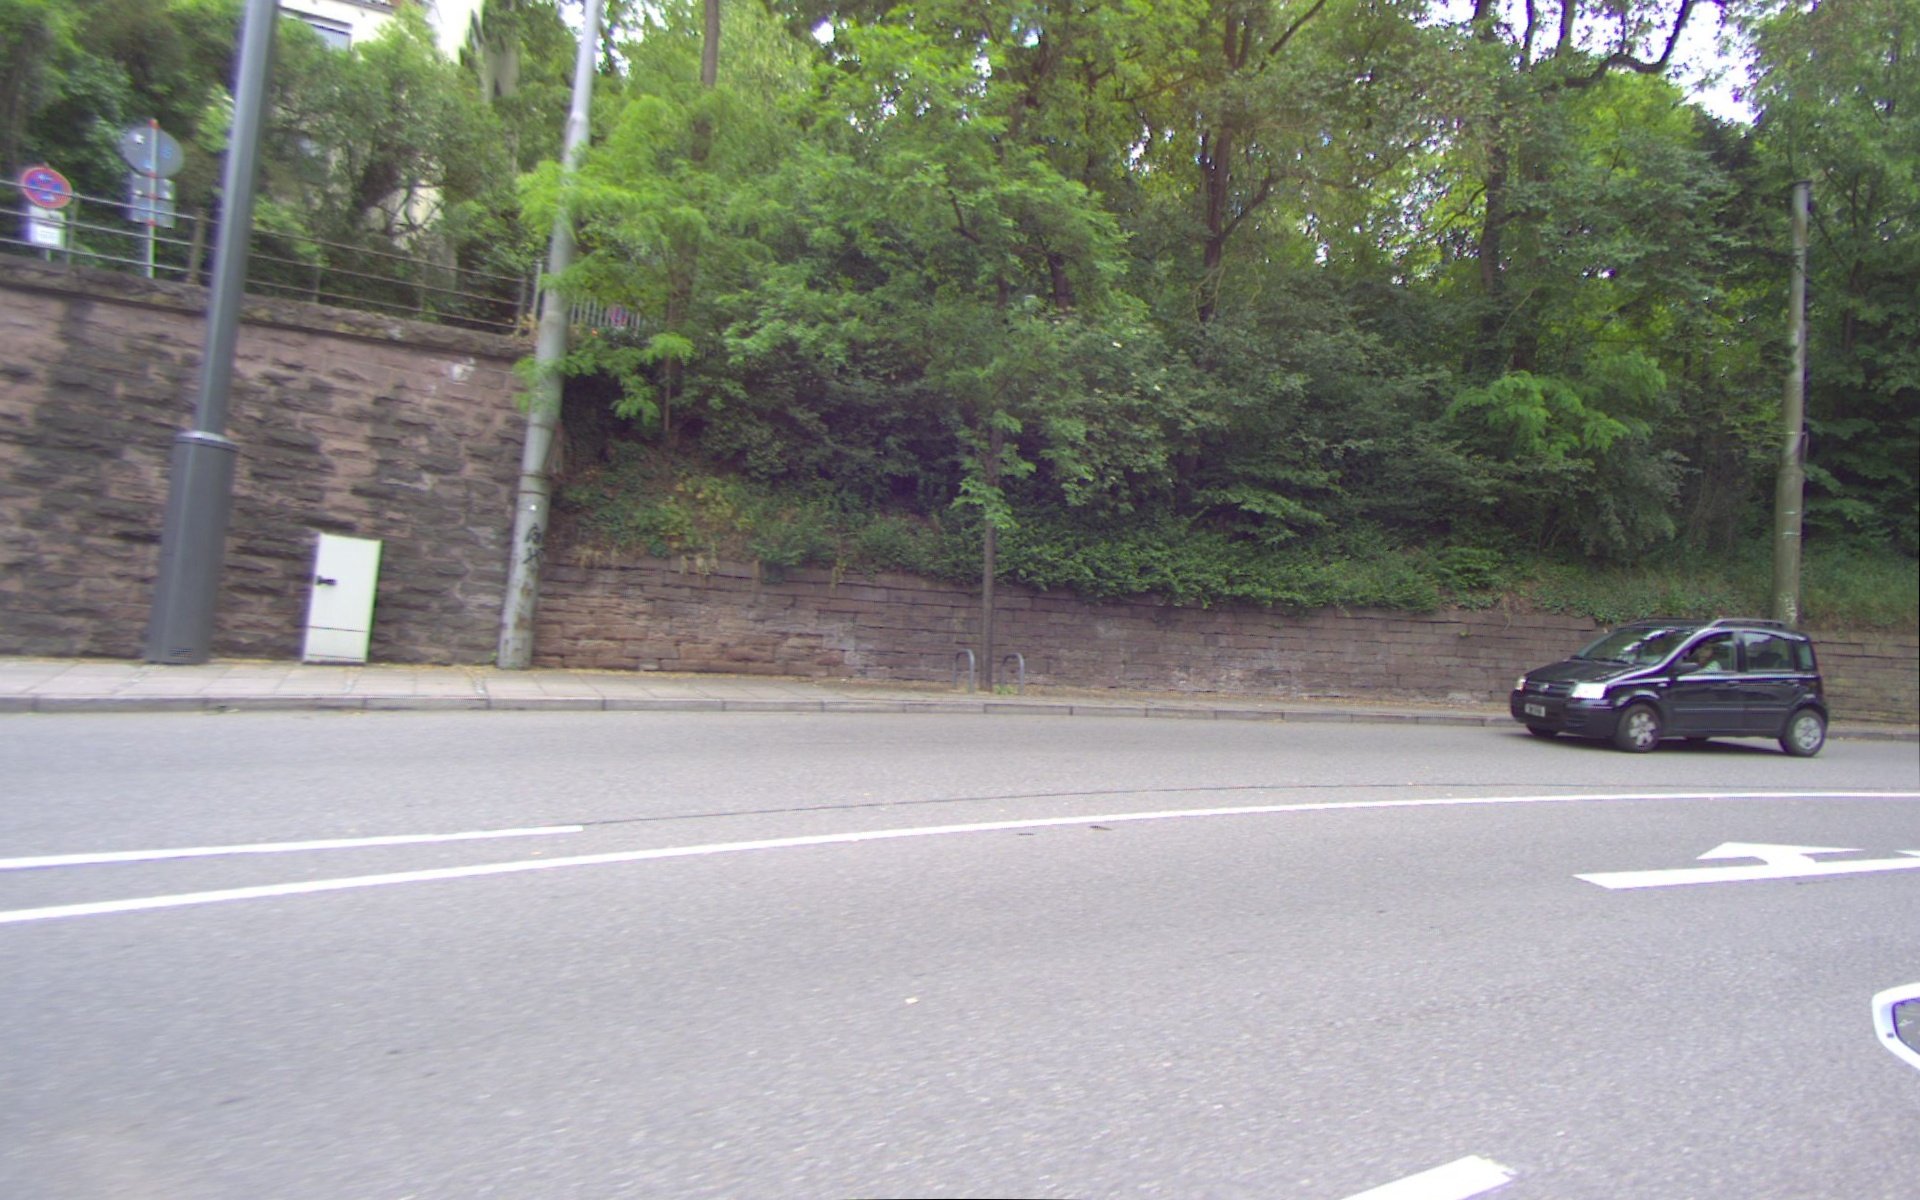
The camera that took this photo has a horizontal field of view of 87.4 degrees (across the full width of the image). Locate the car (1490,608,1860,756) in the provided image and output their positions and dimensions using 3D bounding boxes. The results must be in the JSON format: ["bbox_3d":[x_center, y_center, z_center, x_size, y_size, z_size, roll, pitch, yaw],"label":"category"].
[{"bbox_3d":[8.542,0.958,12.107,3.595,1.545,1.508,2,0,-10],"label":"car"}]
